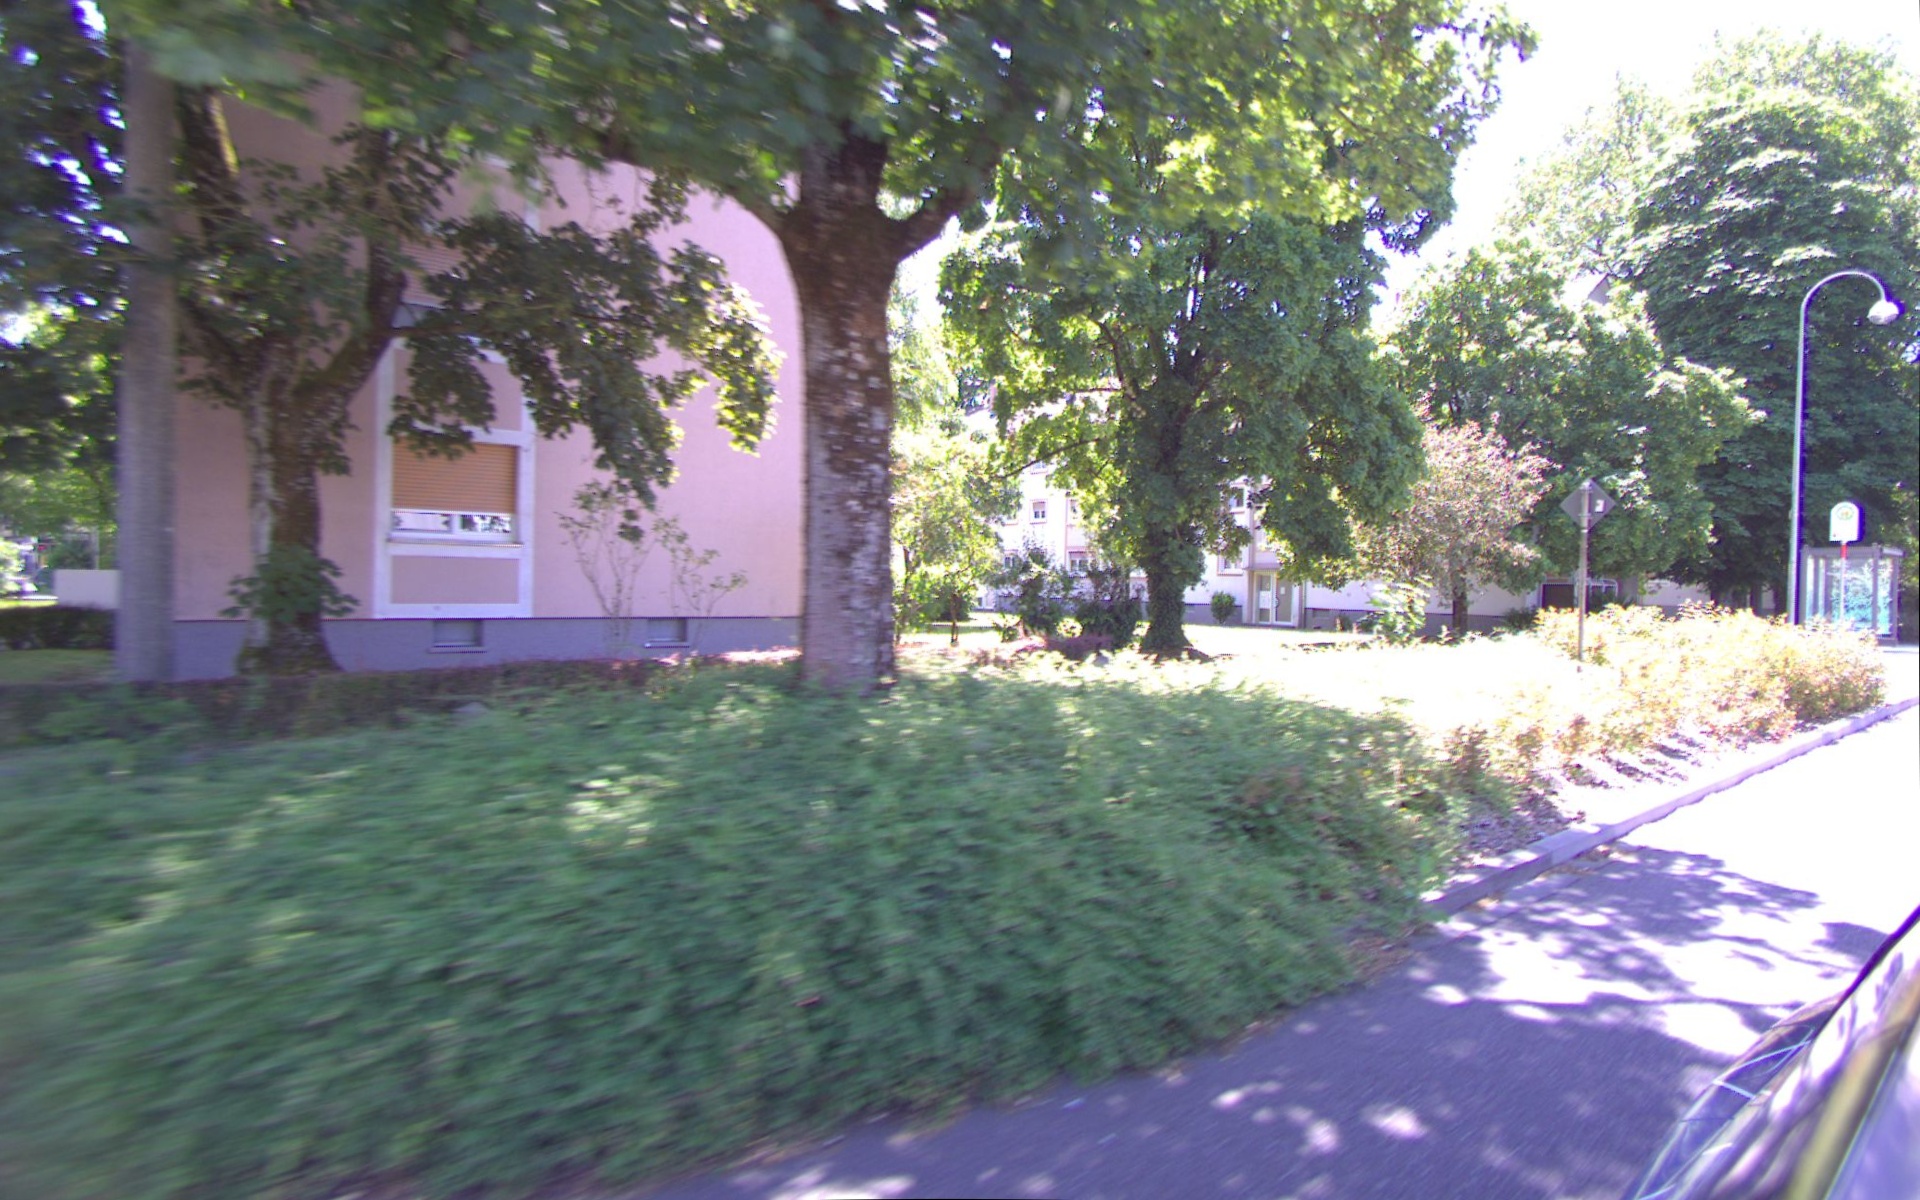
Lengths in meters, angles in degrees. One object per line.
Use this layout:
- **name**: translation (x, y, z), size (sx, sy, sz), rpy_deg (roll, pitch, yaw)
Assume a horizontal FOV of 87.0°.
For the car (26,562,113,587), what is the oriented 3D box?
- **car**: translation (-54.091, -1.554, 61.565), size (3.779, 1.456, 1.710), rpy_deg (0, 1, -34)
